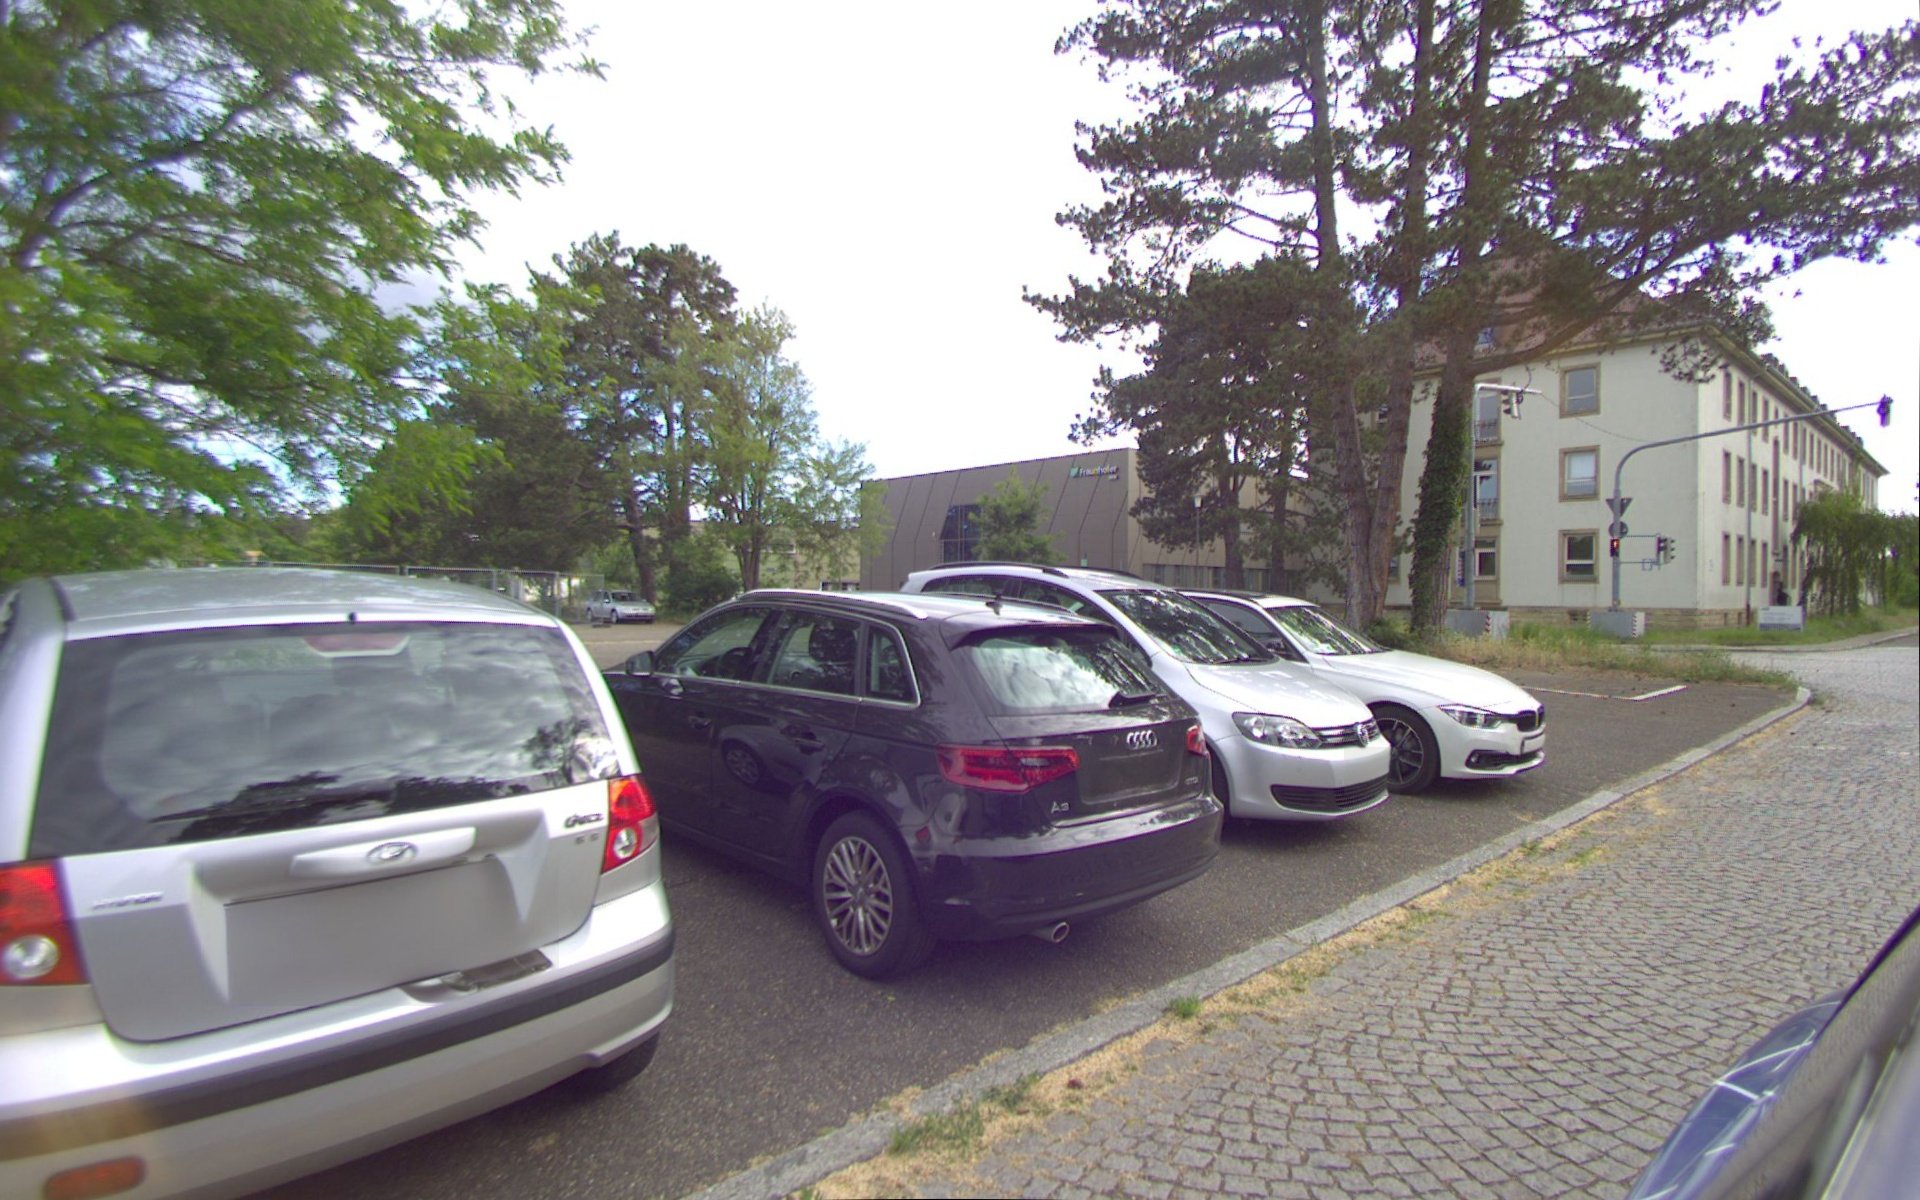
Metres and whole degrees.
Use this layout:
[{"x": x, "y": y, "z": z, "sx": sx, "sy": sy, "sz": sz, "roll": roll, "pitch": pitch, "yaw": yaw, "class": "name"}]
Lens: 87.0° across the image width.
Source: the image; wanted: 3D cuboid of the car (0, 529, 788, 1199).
[{"x": -2.522, "y": 0.577, "z": 3.517, "sx": 1.774, "sy": 1.533, "sz": 4.078, "roll": 0, "pitch": 3, "yaw": -44, "class": "car"}]

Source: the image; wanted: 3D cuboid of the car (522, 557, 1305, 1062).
[{"x": -0.566, "y": 0.605, "z": 5.325, "sx": 1.854, "sy": 1.470, "sz": 4.078, "roll": 0, "pitch": 3, "yaw": -44, "class": "car"}]

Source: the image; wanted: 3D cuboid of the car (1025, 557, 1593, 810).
[{"x": 2.904, "y": 0.509, "z": 9.218, "sx": 1.874, "sy": 1.584, "sz": 4.498, "roll": 0, "pitch": 3, "yaw": -44, "class": "car"}]

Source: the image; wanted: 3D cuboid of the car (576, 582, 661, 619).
[{"x": -14.811, "y": -0.004, "z": 43.741, "sx": 1.941, "sy": 1.501, "sz": 3.989, "roll": 0, "pitch": 1, "yaw": -45, "class": "car"}]

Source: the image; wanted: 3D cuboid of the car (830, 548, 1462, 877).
[{"x": 1.106, "y": 0.514, "z": 7.465, "sx": 4.243, "sy": 1.615, "sz": 1.855, "roll": 5, "pitch": 3, "yaw": 45, "class": "car"}]

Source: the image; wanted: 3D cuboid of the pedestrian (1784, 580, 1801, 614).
[{"x": 41.481, "y": -0.153, "z": 50.422, "sx": 0.522, "sy": 1.722, "sz": 0.568, "roll": 1, "pitch": 0, "yaw": -39, "class": "pedestrian"}]

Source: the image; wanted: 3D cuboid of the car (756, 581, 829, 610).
[{"x": -11.082, "y": -0.277, "z": 67.068, "sx": 4.402, "sy": 1.854, "sz": 1.995, "roll": 0, "pitch": 1, "yaw": -44, "class": "car"}]
